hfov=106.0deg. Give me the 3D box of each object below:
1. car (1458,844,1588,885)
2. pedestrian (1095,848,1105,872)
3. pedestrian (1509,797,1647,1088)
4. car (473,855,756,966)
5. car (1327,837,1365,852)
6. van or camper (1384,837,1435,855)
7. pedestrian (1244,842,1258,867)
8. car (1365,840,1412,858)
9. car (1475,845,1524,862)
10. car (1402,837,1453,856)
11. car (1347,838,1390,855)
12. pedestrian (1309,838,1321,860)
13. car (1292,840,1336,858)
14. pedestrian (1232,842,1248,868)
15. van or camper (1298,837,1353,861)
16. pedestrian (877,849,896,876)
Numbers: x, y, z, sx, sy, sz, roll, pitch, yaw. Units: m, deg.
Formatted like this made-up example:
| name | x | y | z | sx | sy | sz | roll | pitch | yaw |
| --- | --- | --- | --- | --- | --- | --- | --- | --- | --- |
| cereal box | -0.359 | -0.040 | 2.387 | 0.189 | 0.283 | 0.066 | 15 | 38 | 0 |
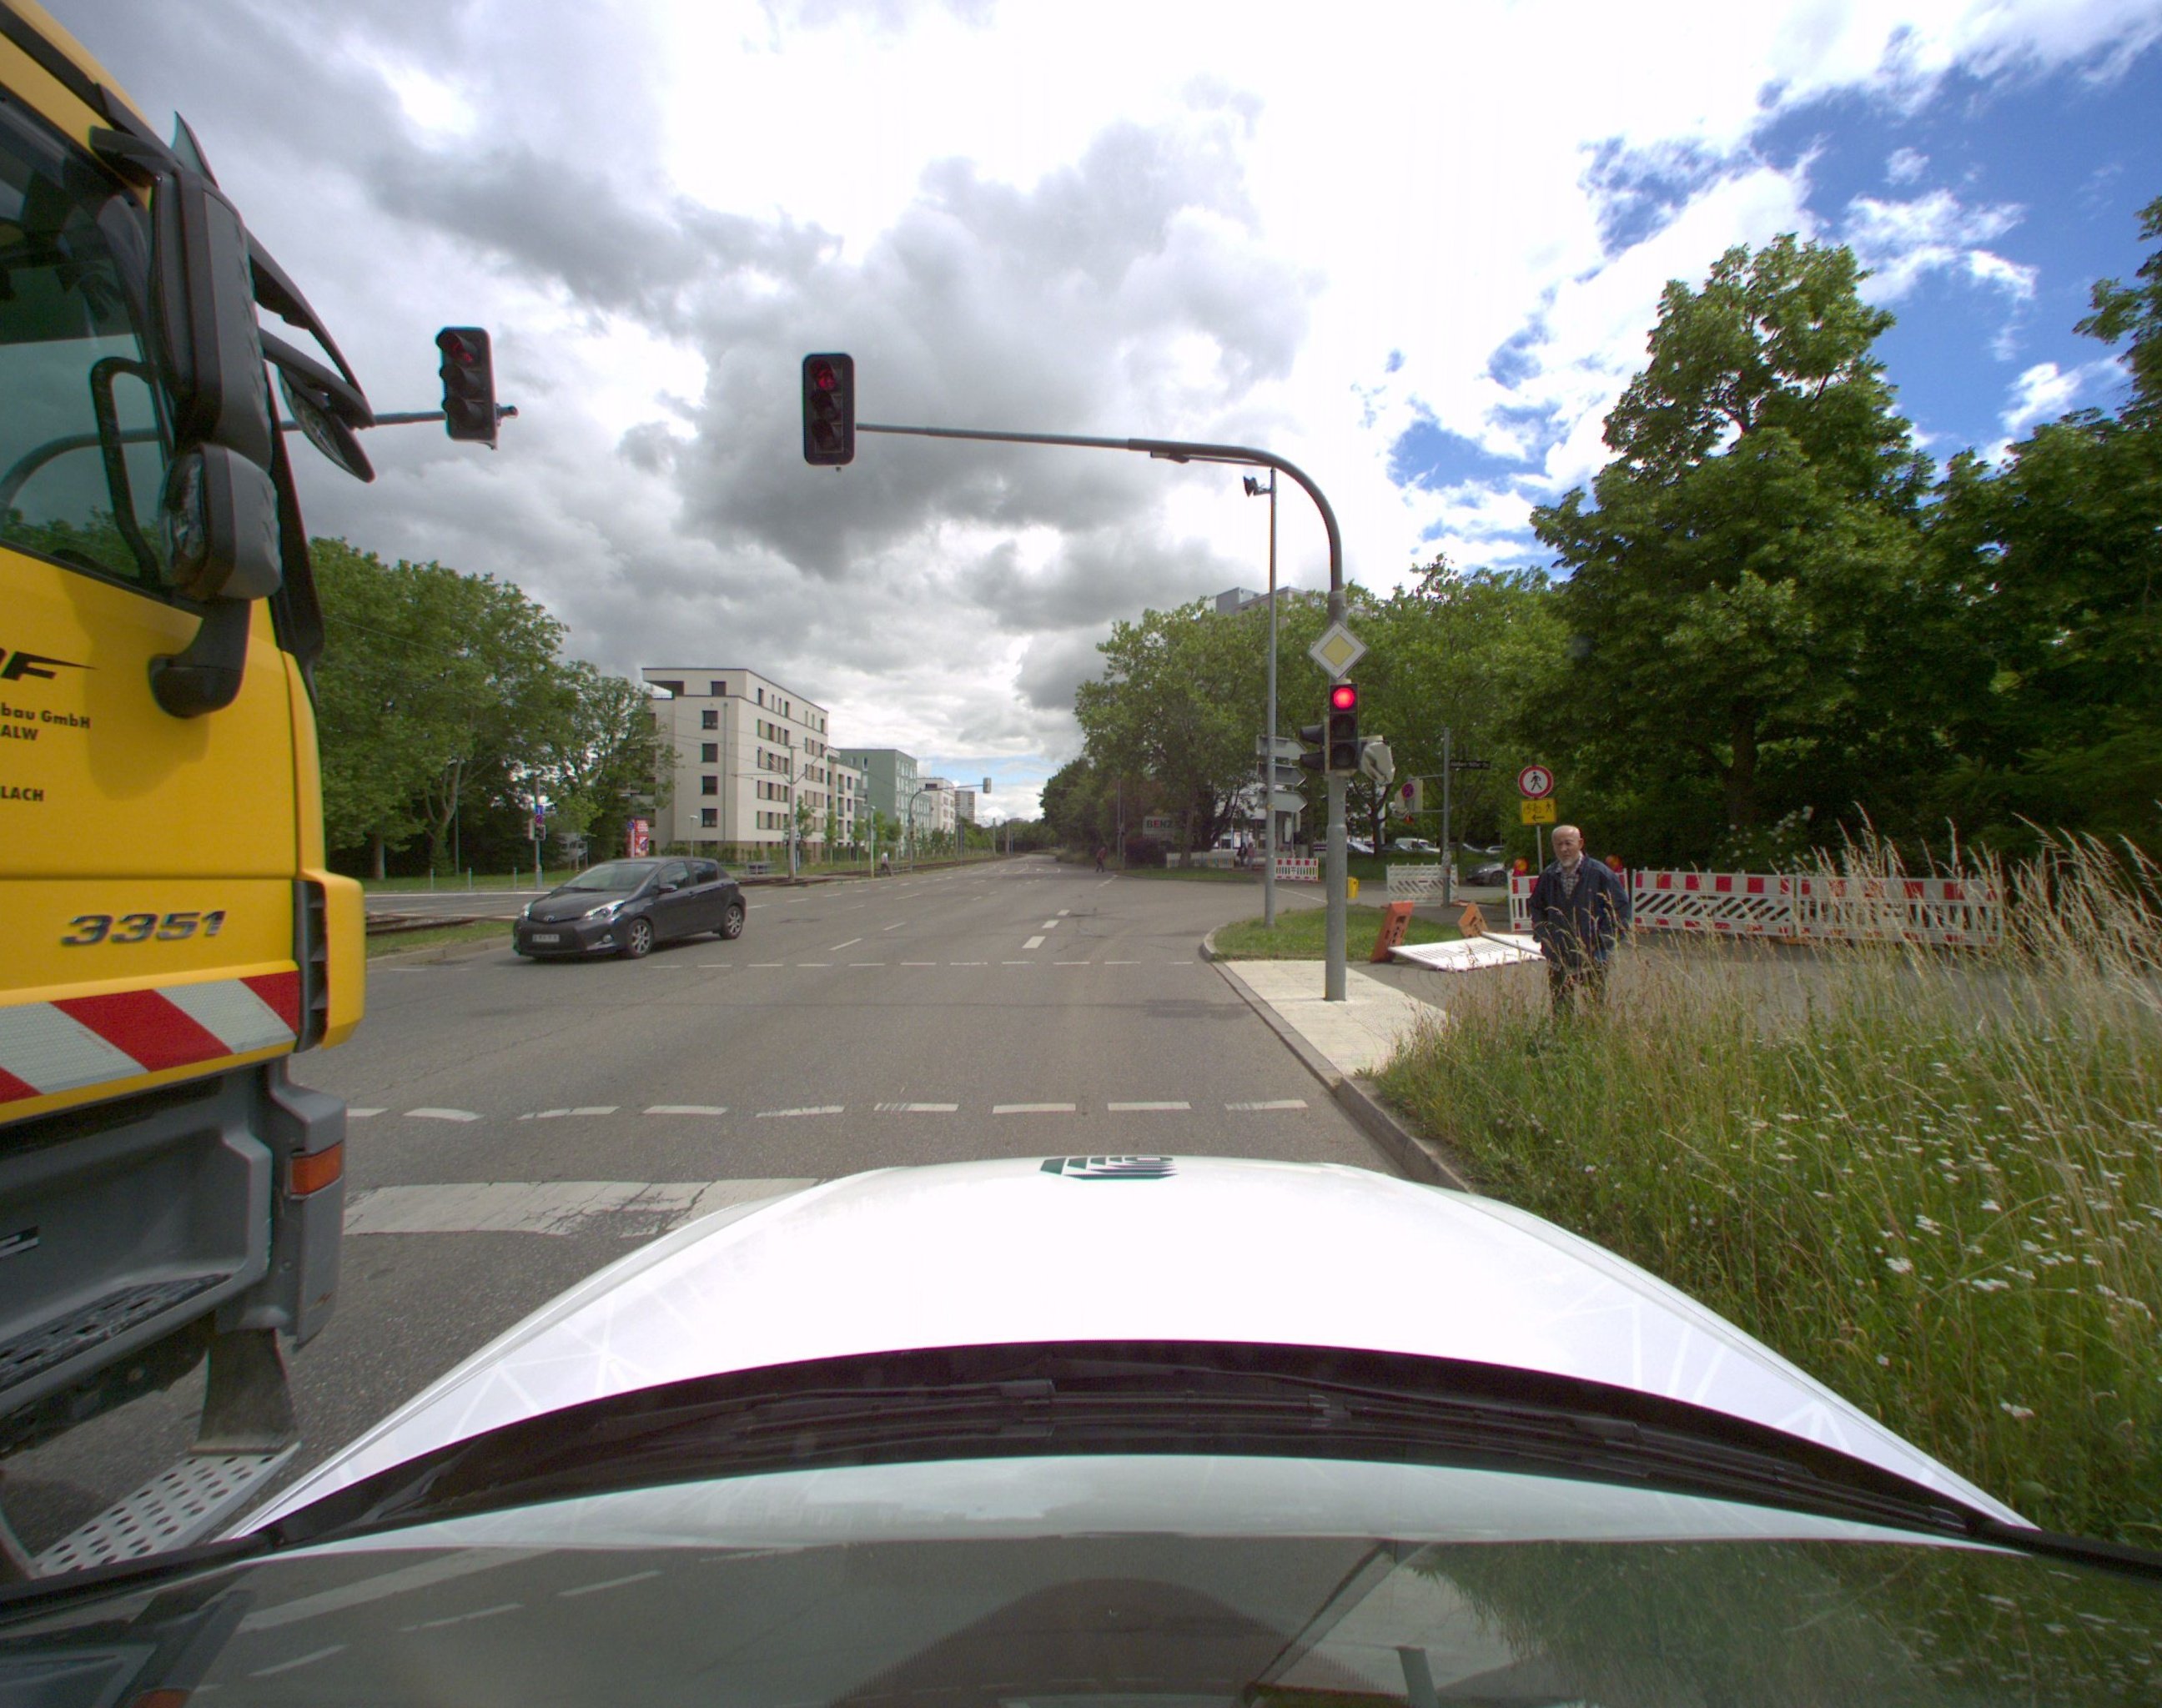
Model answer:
| name | x | y | z | sx | sy | sz | roll | pitch | yaw |
| --- | --- | --- | --- | --- | --- | --- | --- | --- | --- |
| car | 18.038 | 0.434 | 33.383 | 4.379 | 1.586 | 1.774 | 0 | -1 | 2 |
| pedestrian | 1.217 | 0.368 | 52.017 | 0.650 | 1.539 | 0.773 | 0 | -1 | 2 |
| pedestrian | 3.314 | 0.524 | 5.461 | 0.719 | 1.740 | 0.962 | -1 | 0 | 31 |
| car | -7.168 | 0.770 | 13.092 | 1.767 | 1.469 | 4.054 | -1 | 0 | 9 |
| car | 25.314 | -0.894 | 77.812 | 1.489 | 1.404 | 3.377 | 0 | -1 | -29 |
| van or camper | 26.976 | -0.645 | 67.061 | 1.523 | 1.356 | 3.738 | 0 | -1 | -31 |
| pedestrian | 10.043 | 0.032 | 48.055 | 0.679 | 1.489 | 0.703 | -1 | -1 | 26 |
| car | 24.319 | -0.377 | 64.530 | 1.488 | 1.404 | 3.378 | 0 | -1 | -27 |
| car | 38.112 | -0.041 | 74.295 | 1.736 | 1.500 | 3.714 | 0 | -1 | -24 |
| car | 29.020 | -0.600 | 68.349 | 1.489 | 1.465 | 3.856 | 0 | -1 | -29 |
| car | 28.024 | -0.768 | 79.406 | 1.677 | 1.634 | 3.787 | 0 | 1 | -28 |
| pedestrian | 21.856 | -0.456 | 76.056 | 0.802 | 2.002 | 0.852 | 0 | -1 | -3 |
| car | 20.016 | -0.422 | 69.892 | 3.404 | 1.445 | 1.477 | 0 | -1 | -16 |
| pedestrian | 9.279 | 0.043 | 47.641 | 0.711 | 1.489 | 0.704 | -1 | -1 | 31 |
| van or camper | 18.478 | -0.383 | 61.733 | 1.849 | 1.684 | 3.967 | -1 | 0 | -25 |
| pedestrian | -11.756 | 0.517 | 49.248 | 0.787 | 1.586 | 0.855 | -1 | -1 | 19 |
